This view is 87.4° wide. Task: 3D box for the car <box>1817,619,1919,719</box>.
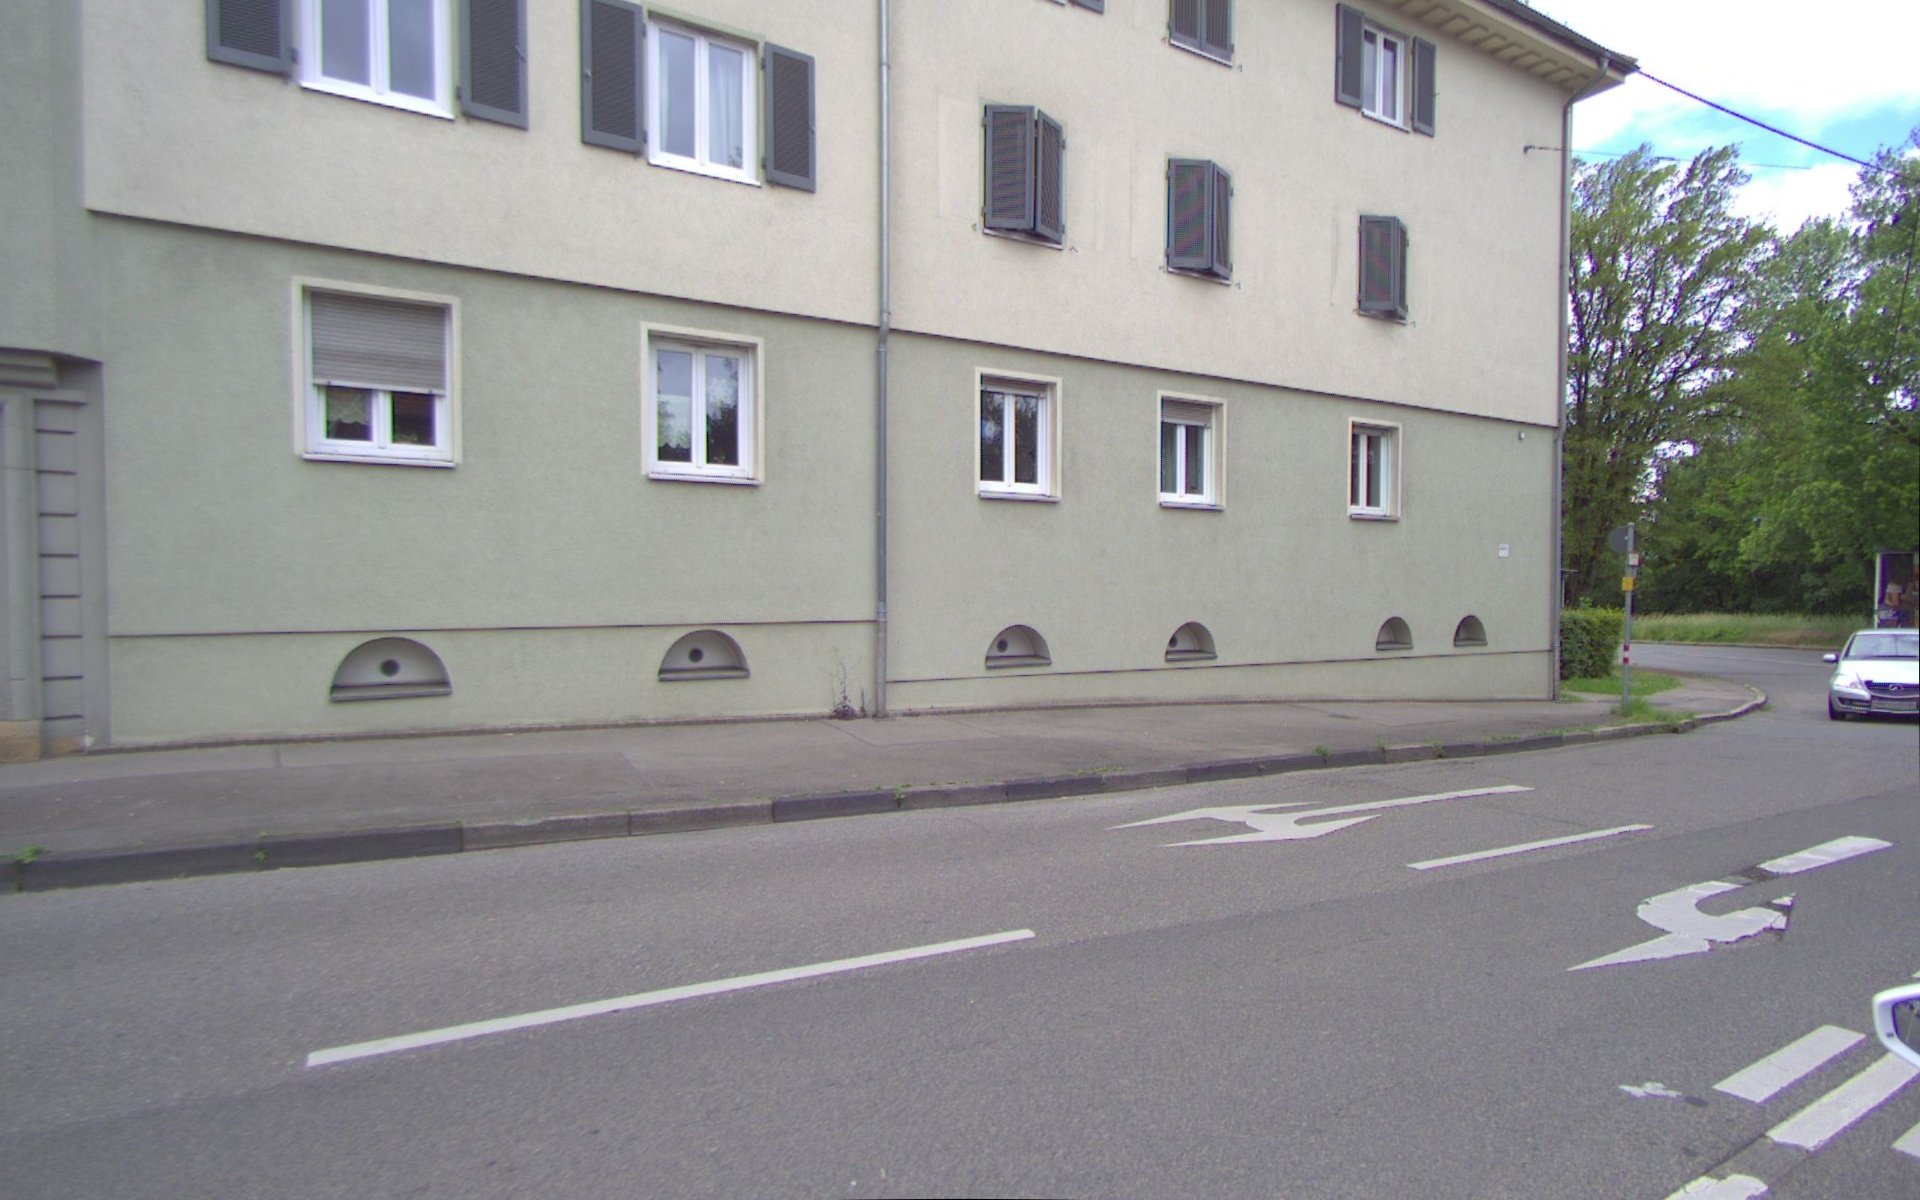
[{"bbox_3d":[16.691,1.181,18.168,1.702,1.626,3.958,-3,-3,40],"label":"car"}]
